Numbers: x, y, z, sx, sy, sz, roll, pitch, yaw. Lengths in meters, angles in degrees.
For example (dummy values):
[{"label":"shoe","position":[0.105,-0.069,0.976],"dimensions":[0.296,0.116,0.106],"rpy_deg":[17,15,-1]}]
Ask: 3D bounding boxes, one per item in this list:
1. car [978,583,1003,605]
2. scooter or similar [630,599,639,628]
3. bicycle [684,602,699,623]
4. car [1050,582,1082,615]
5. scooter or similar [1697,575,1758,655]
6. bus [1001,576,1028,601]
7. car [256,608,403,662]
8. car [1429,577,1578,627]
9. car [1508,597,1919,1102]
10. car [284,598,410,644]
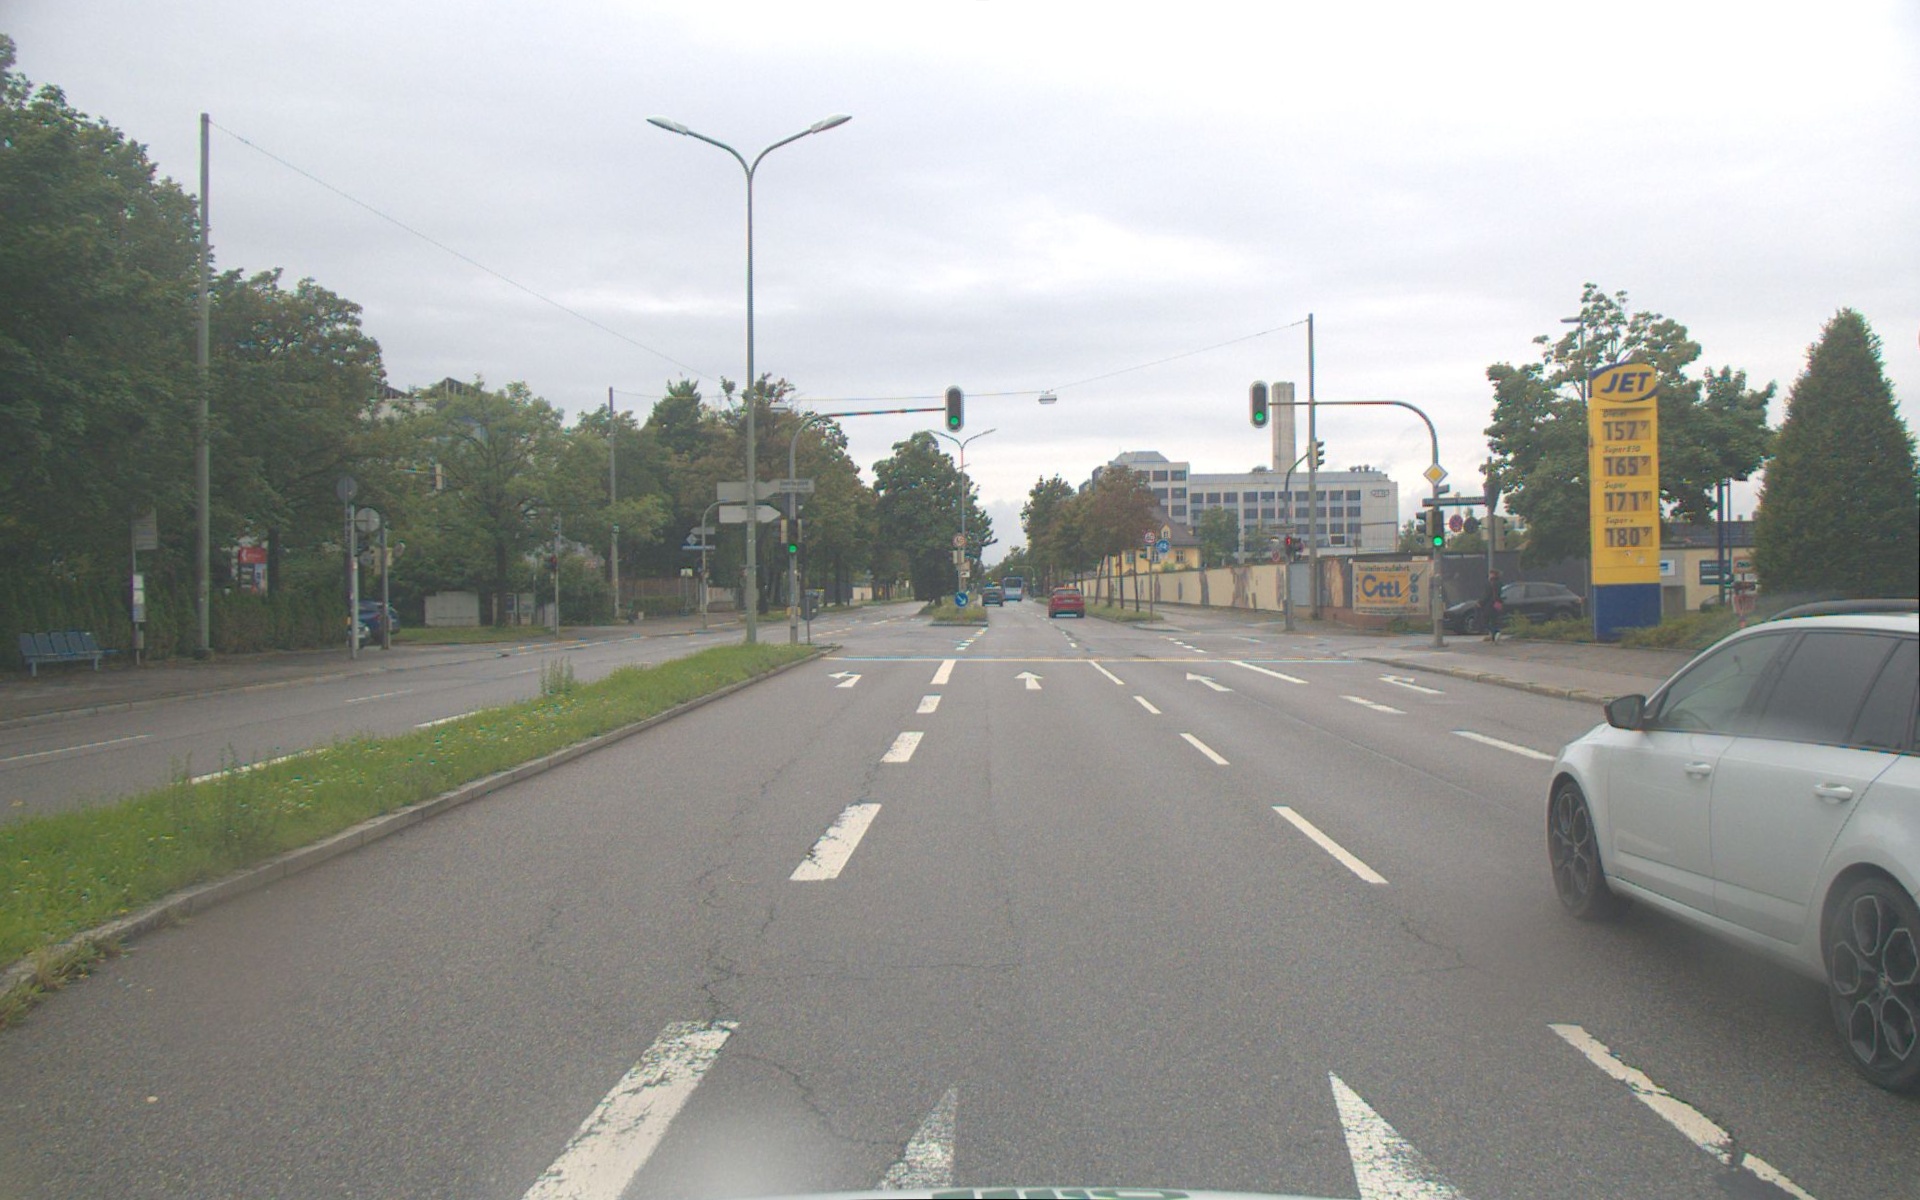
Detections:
[{"label":"car","position":[2.653,-0.526,144.567],"dimensions":[2.041,1.898,4.386],"rpy_deg":[0,0,0]},{"label":"scooter or similar","position":[-16.140,0.672,82.066],"dimensions":[0.364,1.449,1.400],"rpy_deg":[0,0,-14]},{"label":"bicycle","position":[-16.458,0.758,101.424],"dimensions":[0.570,1.318,2.453],"rpy_deg":[0,0,-1]},{"label":"car","position":[5.694,-0.069,89.009],"dimensions":[1.454,1.745,3.551],"rpy_deg":[0,0,0]},{"label":"scooter or similar","position":[12.708,0.238,27.429],"dimensions":[0.348,1.264,1.546],"rpy_deg":[-3,0,5]},{"label":"bus","position":[7.201,-1.466,219.479],"dimensions":[3.155,3.181,10.344],"rpy_deg":[0,0,0]},{"label":"car","position":[-21.880,1.218,57.379],"dimensions":[4.678,1.753,1.999],"rpy_deg":[-2,-1,23]},{"label":"car","position":[17.467,0.061,53.265],"dimensions":[4.161,1.453,2.001],"rpy_deg":[-2,0,3]},{"label":"car","position":[3.747,0.739,6.213],"dimensions":[1.840,1.493,4.501],"rpy_deg":[0,0,-1]},{"label":"car","position":[-24.098,0.811,65.092],"dimensions":[4.177,1.602,2.002],"rpy_deg":[-2,2,9]}]
